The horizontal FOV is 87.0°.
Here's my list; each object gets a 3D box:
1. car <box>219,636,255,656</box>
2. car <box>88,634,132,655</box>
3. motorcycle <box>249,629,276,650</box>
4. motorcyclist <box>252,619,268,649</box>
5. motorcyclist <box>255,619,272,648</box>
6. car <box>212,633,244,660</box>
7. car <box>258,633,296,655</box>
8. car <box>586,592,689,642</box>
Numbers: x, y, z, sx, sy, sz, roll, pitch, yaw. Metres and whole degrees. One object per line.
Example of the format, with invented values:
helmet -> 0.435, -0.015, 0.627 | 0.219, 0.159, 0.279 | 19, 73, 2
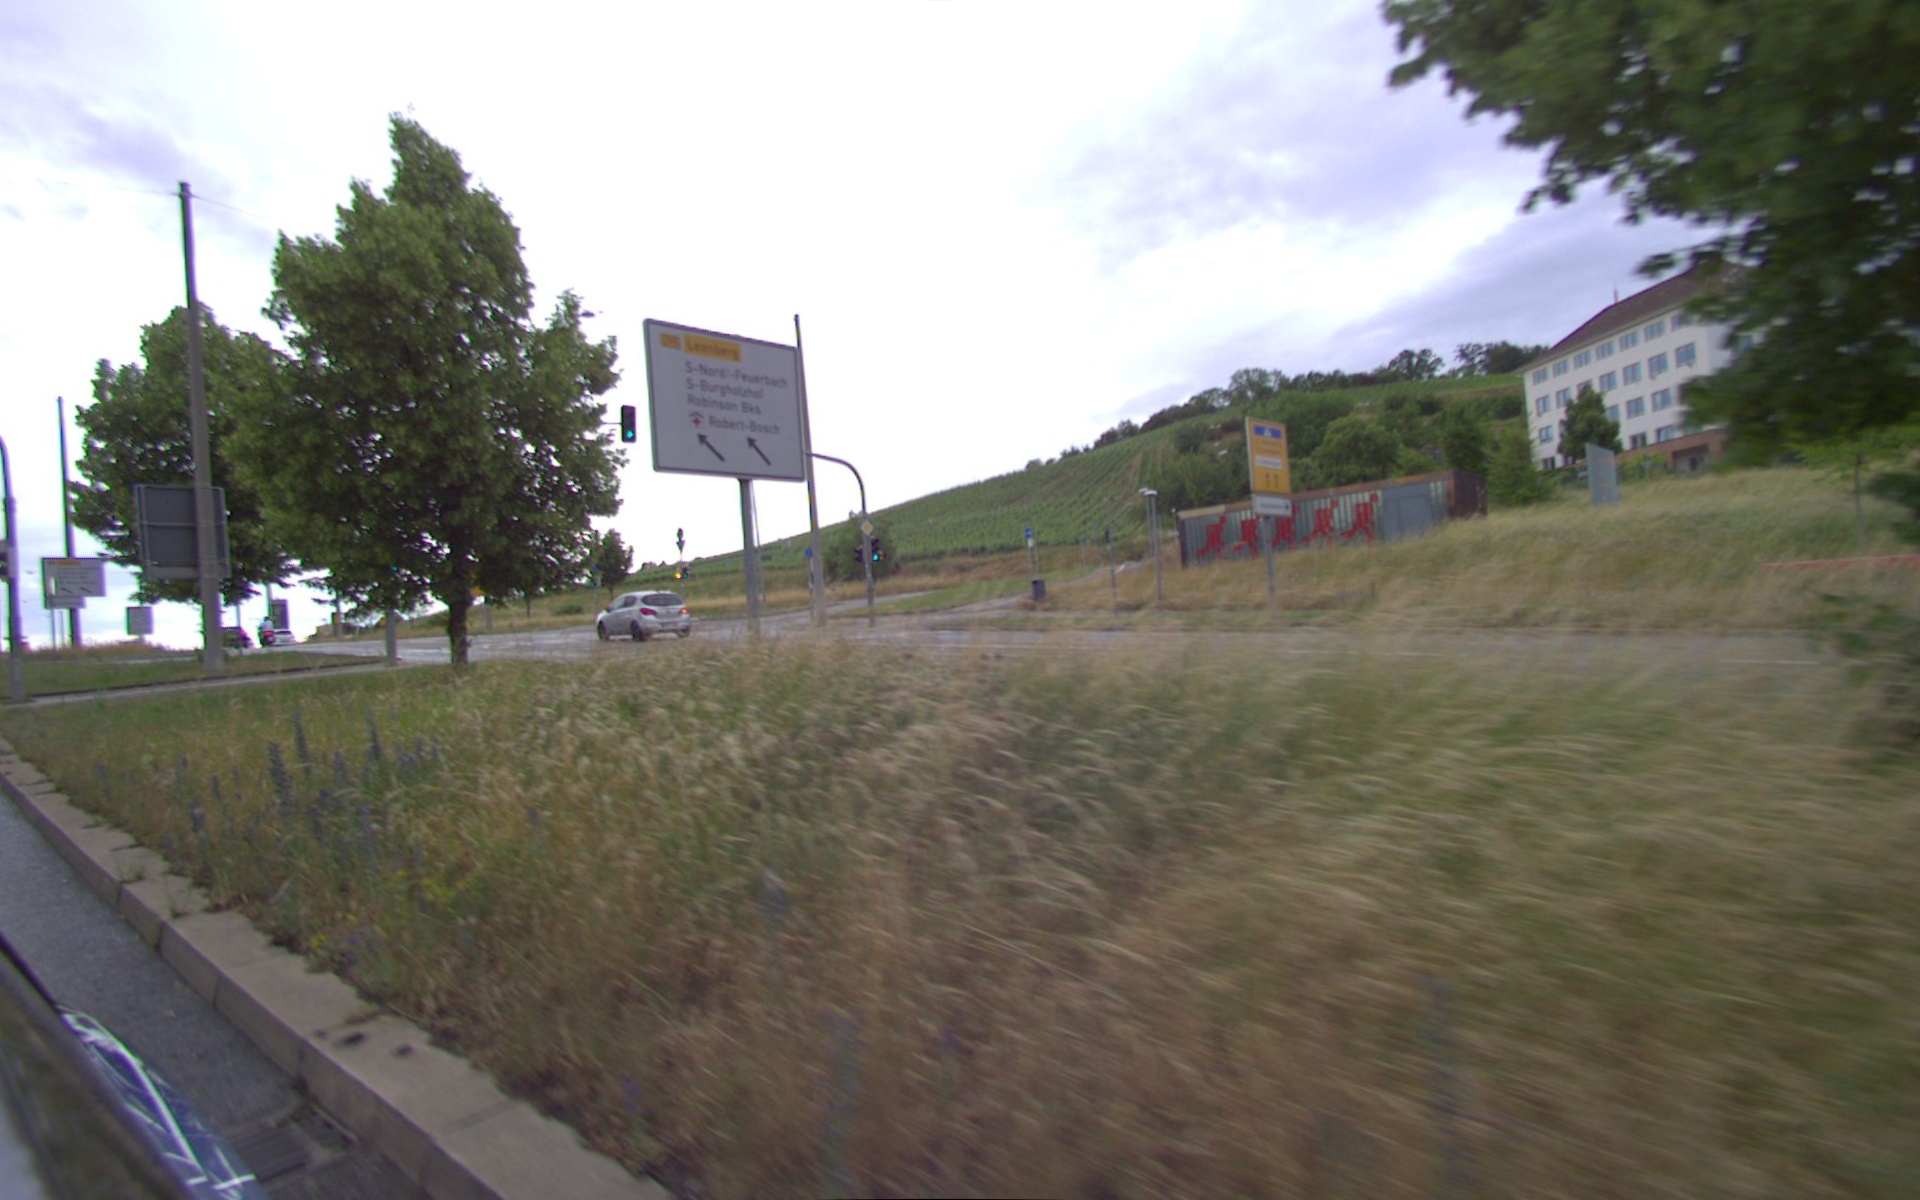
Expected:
car -> -64.843, 4.102, 90.739 | 4.178, 1.660, 1.748 | -2, 1, 43
car -> -66.328, 3.478, 78.968 | 4.458, 1.515, 1.734 | -3, 0, 38
motorcycle -> -38.927, 2.215, 56.466 | 2.501, 1.058, 0.610 | -4, -1, 42
motorcyclist -> -39.212, 1.904, 56.689 | 0.643, 1.608, 0.576 | -4, -1, 42
motorcyclist -> -38.723, 1.868, 56.257 | 0.582, 1.593, 0.606 | -4, -1, 42
car -> -46.877, 2.948, 64.803 | 1.518, 1.515, 3.670 | -3, 1, -38
car -> -52.572, 3.403, 77.880 | 3.774, 1.474, 1.633 | -4, -1, 43
car -> -10.011, 0.516, 31.278 | 1.520, 1.399, 3.932 | -3, 1, -42
